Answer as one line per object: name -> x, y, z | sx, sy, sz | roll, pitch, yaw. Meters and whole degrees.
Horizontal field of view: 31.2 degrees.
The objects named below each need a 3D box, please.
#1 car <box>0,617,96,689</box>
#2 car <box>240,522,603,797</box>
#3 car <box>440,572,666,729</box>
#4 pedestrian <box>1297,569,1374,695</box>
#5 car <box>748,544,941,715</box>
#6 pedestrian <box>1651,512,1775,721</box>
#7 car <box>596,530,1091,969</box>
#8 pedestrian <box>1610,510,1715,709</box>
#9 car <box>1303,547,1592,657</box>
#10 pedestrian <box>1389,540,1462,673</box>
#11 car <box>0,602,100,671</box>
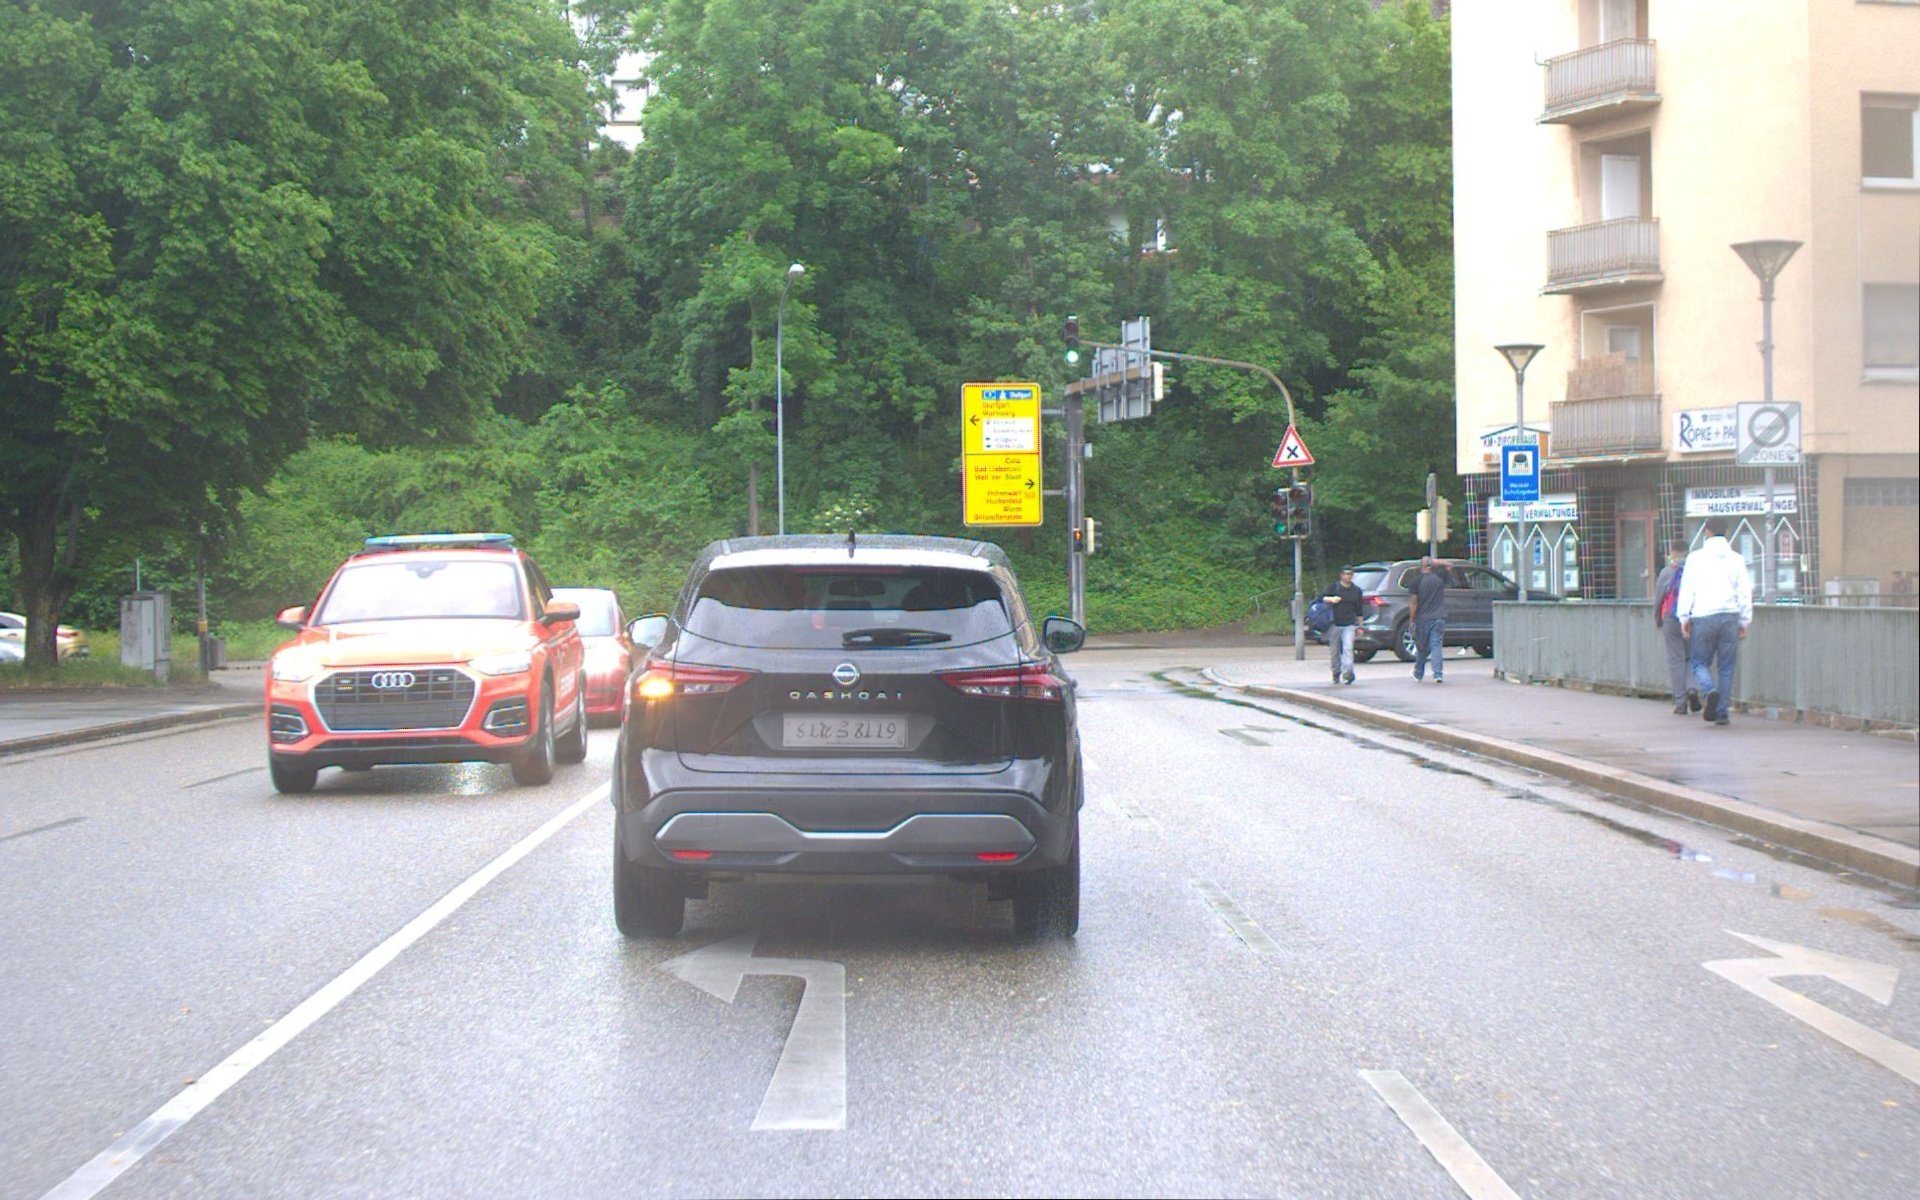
car -> -19.576, 1.086, 69.894 | 3.673, 1.415, 1.632 | -1, 0, -5
car -> -3.727, 0.356, 24.533 | 1.888, 1.729, 4.371 | -2, 1, -1
car -> -4.060, 0.463, 34.878 | 1.781, 1.397, 4.219 | -2, 1, -1
pedestrian -> 4.932, 0.410, 45.146 | 0.862, 1.613, 0.839 | -2, 0, -1
car -> -1.131, 0.249, 34.688 | 1.811, 1.597, 4.000 | 1, 1, -1
pedestrian -> 6.435, 0.133, 29.419 | 0.779, 1.746, 1.061 | -1, 0, -1
car -> -0.462, 0.513, 14.664 | 1.811, 1.597, 4.000 | 0, 1, -1
pedestrian -> 6.519, 0.084, 31.922 | 0.761, 1.802, 0.781 | -2, 1, -1
car -> 8.051, 0.025, 56.758 | 4.366, 1.643, 1.884 | -2, 0, -26
pedestrian -> 6.007, 0.077, 44.358 | 0.761, 1.671, 0.781 | -3, 1, -1
car -> -21.190, 0.839, 75.638 | 4.080, 1.411, 1.715 | -2, 0, -1
